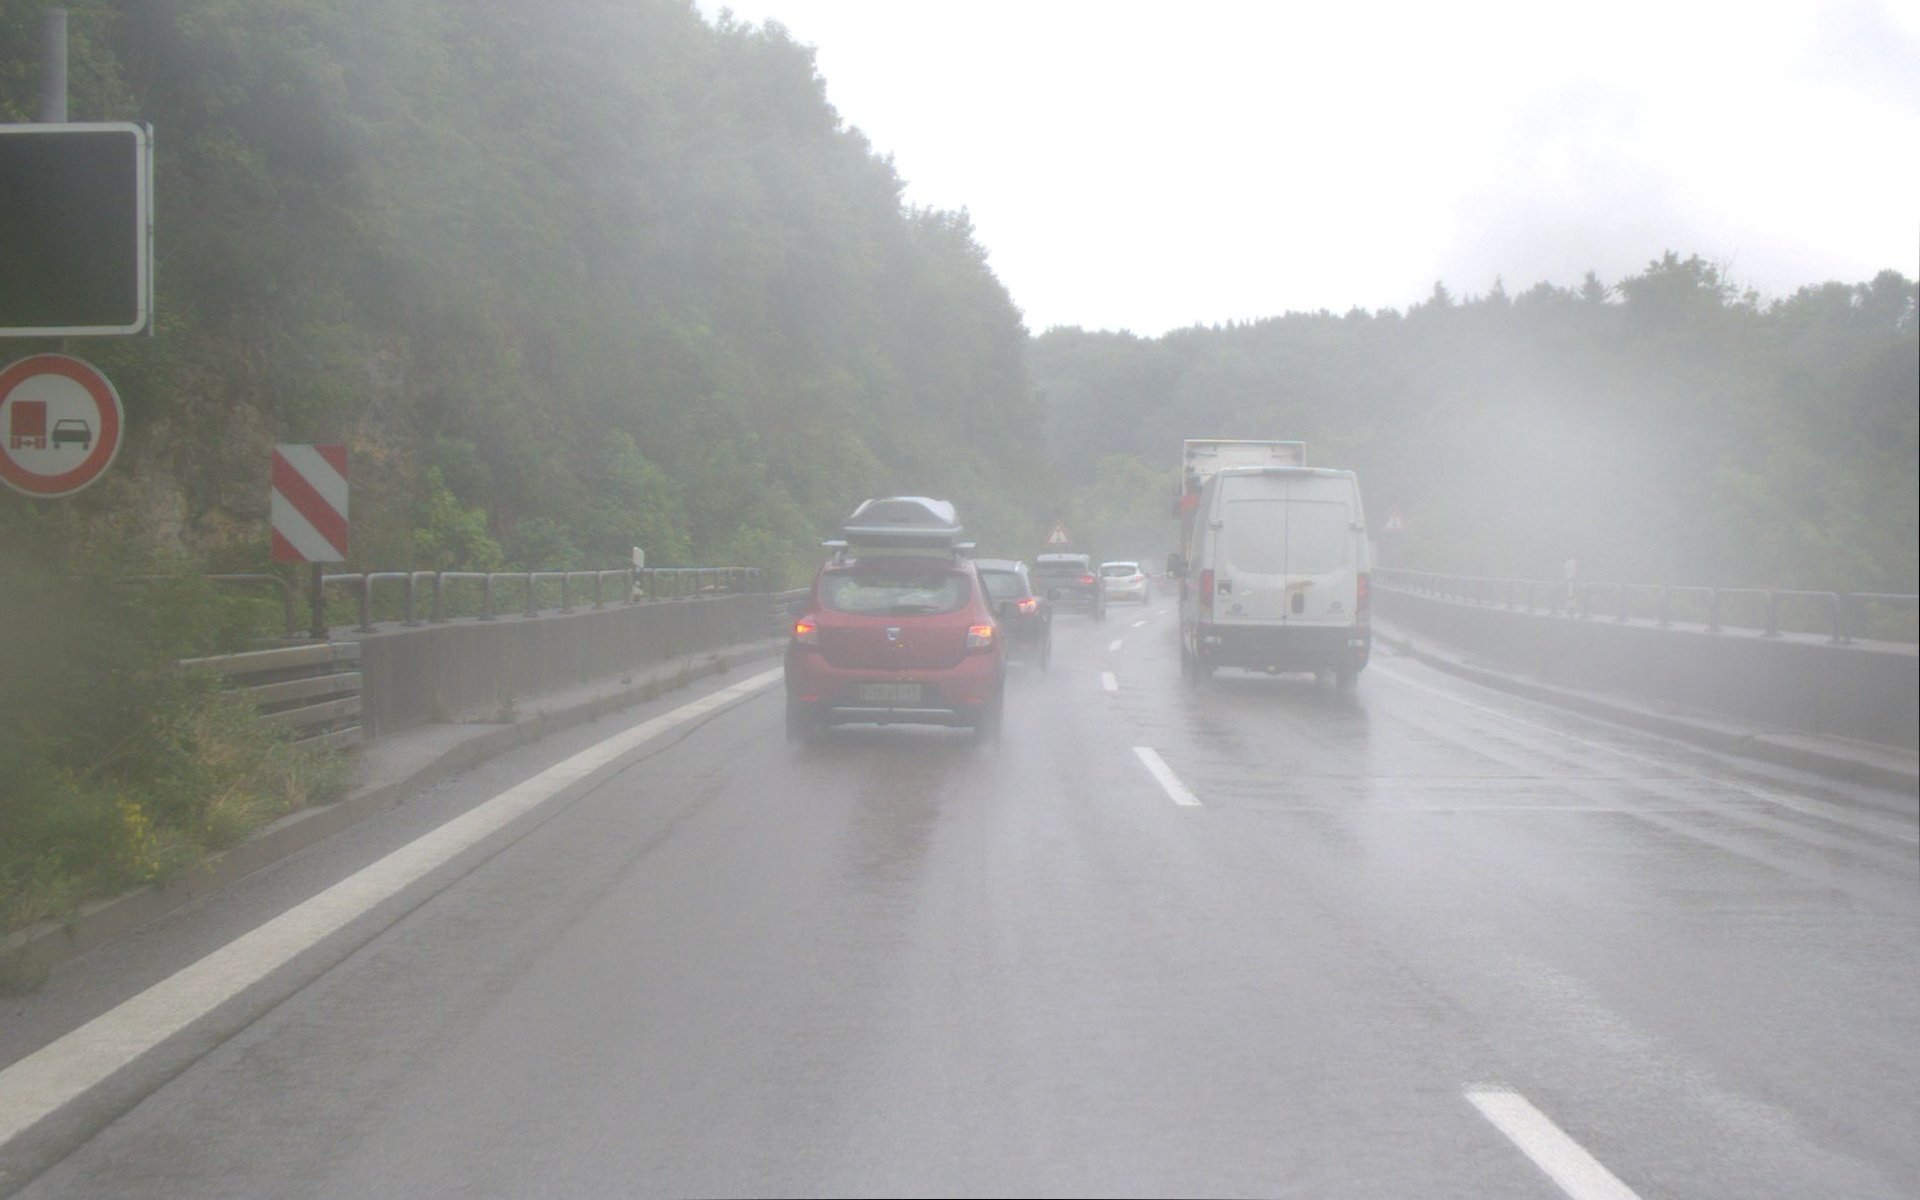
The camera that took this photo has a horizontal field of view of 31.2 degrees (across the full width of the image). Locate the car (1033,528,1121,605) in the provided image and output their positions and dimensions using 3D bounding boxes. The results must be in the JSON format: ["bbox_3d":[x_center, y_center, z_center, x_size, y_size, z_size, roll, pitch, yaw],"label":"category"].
[{"bbox_3d":[2.804,-0.788,81.807,1.875,1.700,3.888,-3,0,4],"label":"car"}]

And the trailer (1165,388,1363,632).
[{"bbox_3d":[5.460,-1.561,63.325,3.219,3.985,13.522,-1,1,4],"label":"trailer"}]

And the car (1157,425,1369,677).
[{"bbox_3d":[3.593,-0.593,42.090,2.206,2.784,7.382,1,1,2],"label":"car"}]

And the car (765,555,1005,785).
[{"bbox_3d":[-0.636,0.524,28.362,1.758,1.679,4.000,-3,0,-2],"label":"car"}]

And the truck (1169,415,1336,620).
[{"bbox_3d":[5.928,-1.646,70.042,3.220,3.964,5.438,-1,1,4],"label":"truck"}]

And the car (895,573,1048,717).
[{"bbox_3d":[0.165,0.552,44.850,1.833,1.709,3.645,-3,0,1],"label":"car"}]

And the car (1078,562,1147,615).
[{"bbox_3d":[5.060,-0.392,113.779,1.994,1.634,3.999,-3,0,6],"label":"car"}]
